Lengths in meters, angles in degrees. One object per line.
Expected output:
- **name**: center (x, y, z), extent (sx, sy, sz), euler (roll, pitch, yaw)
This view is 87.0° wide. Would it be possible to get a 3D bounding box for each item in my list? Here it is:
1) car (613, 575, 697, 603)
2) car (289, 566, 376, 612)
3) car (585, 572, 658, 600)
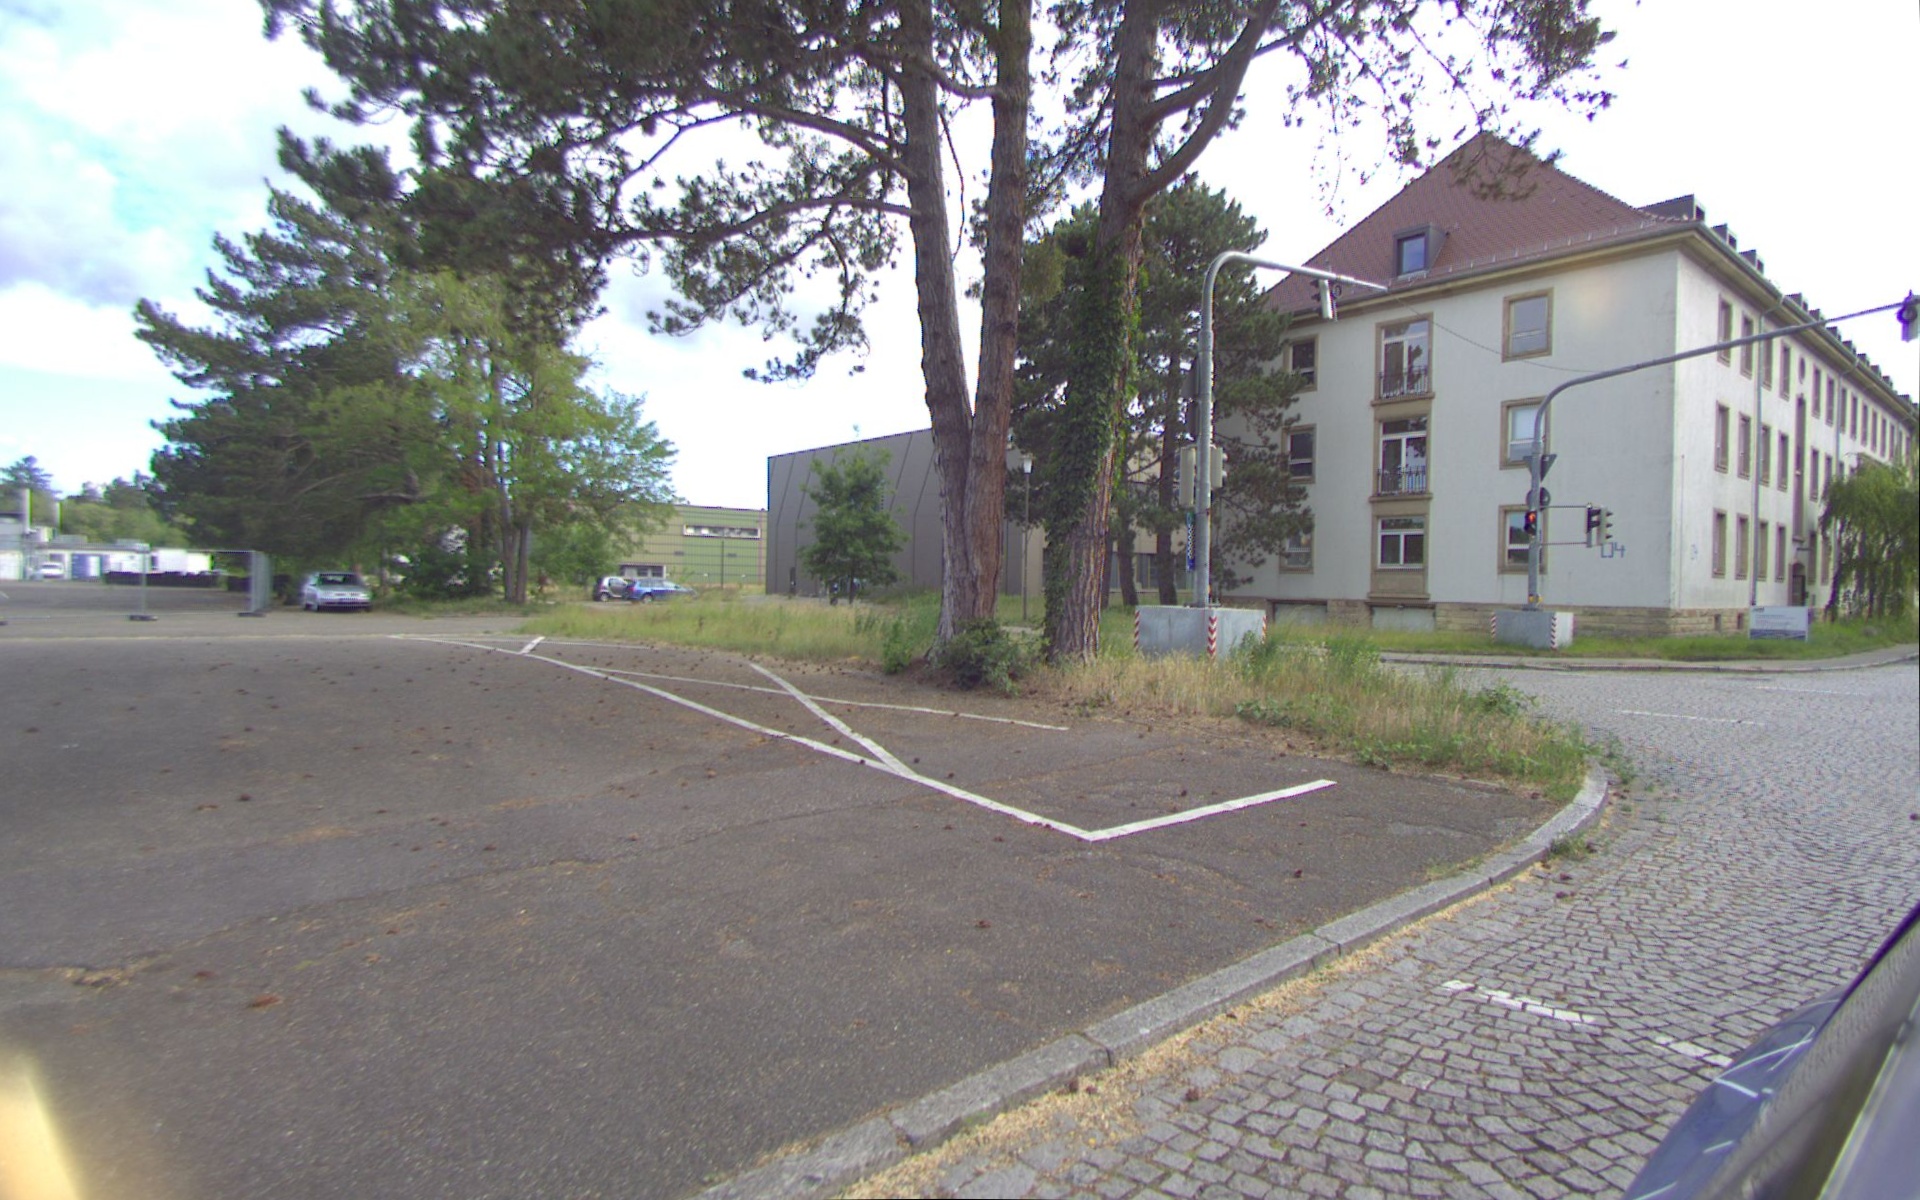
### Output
- **car**: center (-17.832, -0.669, 59.254), extent (4.344, 1.481, 1.835), euler (-3, 4, -43)
- **car**: center (-22.446, -0.417, 36.134), extent (1.834, 1.492, 4.141), euler (1, 1, -44)
- **car**: center (-21.892, -0.931, 65.543), extent (4.126, 1.606, 1.835), euler (-3, 4, -43)
